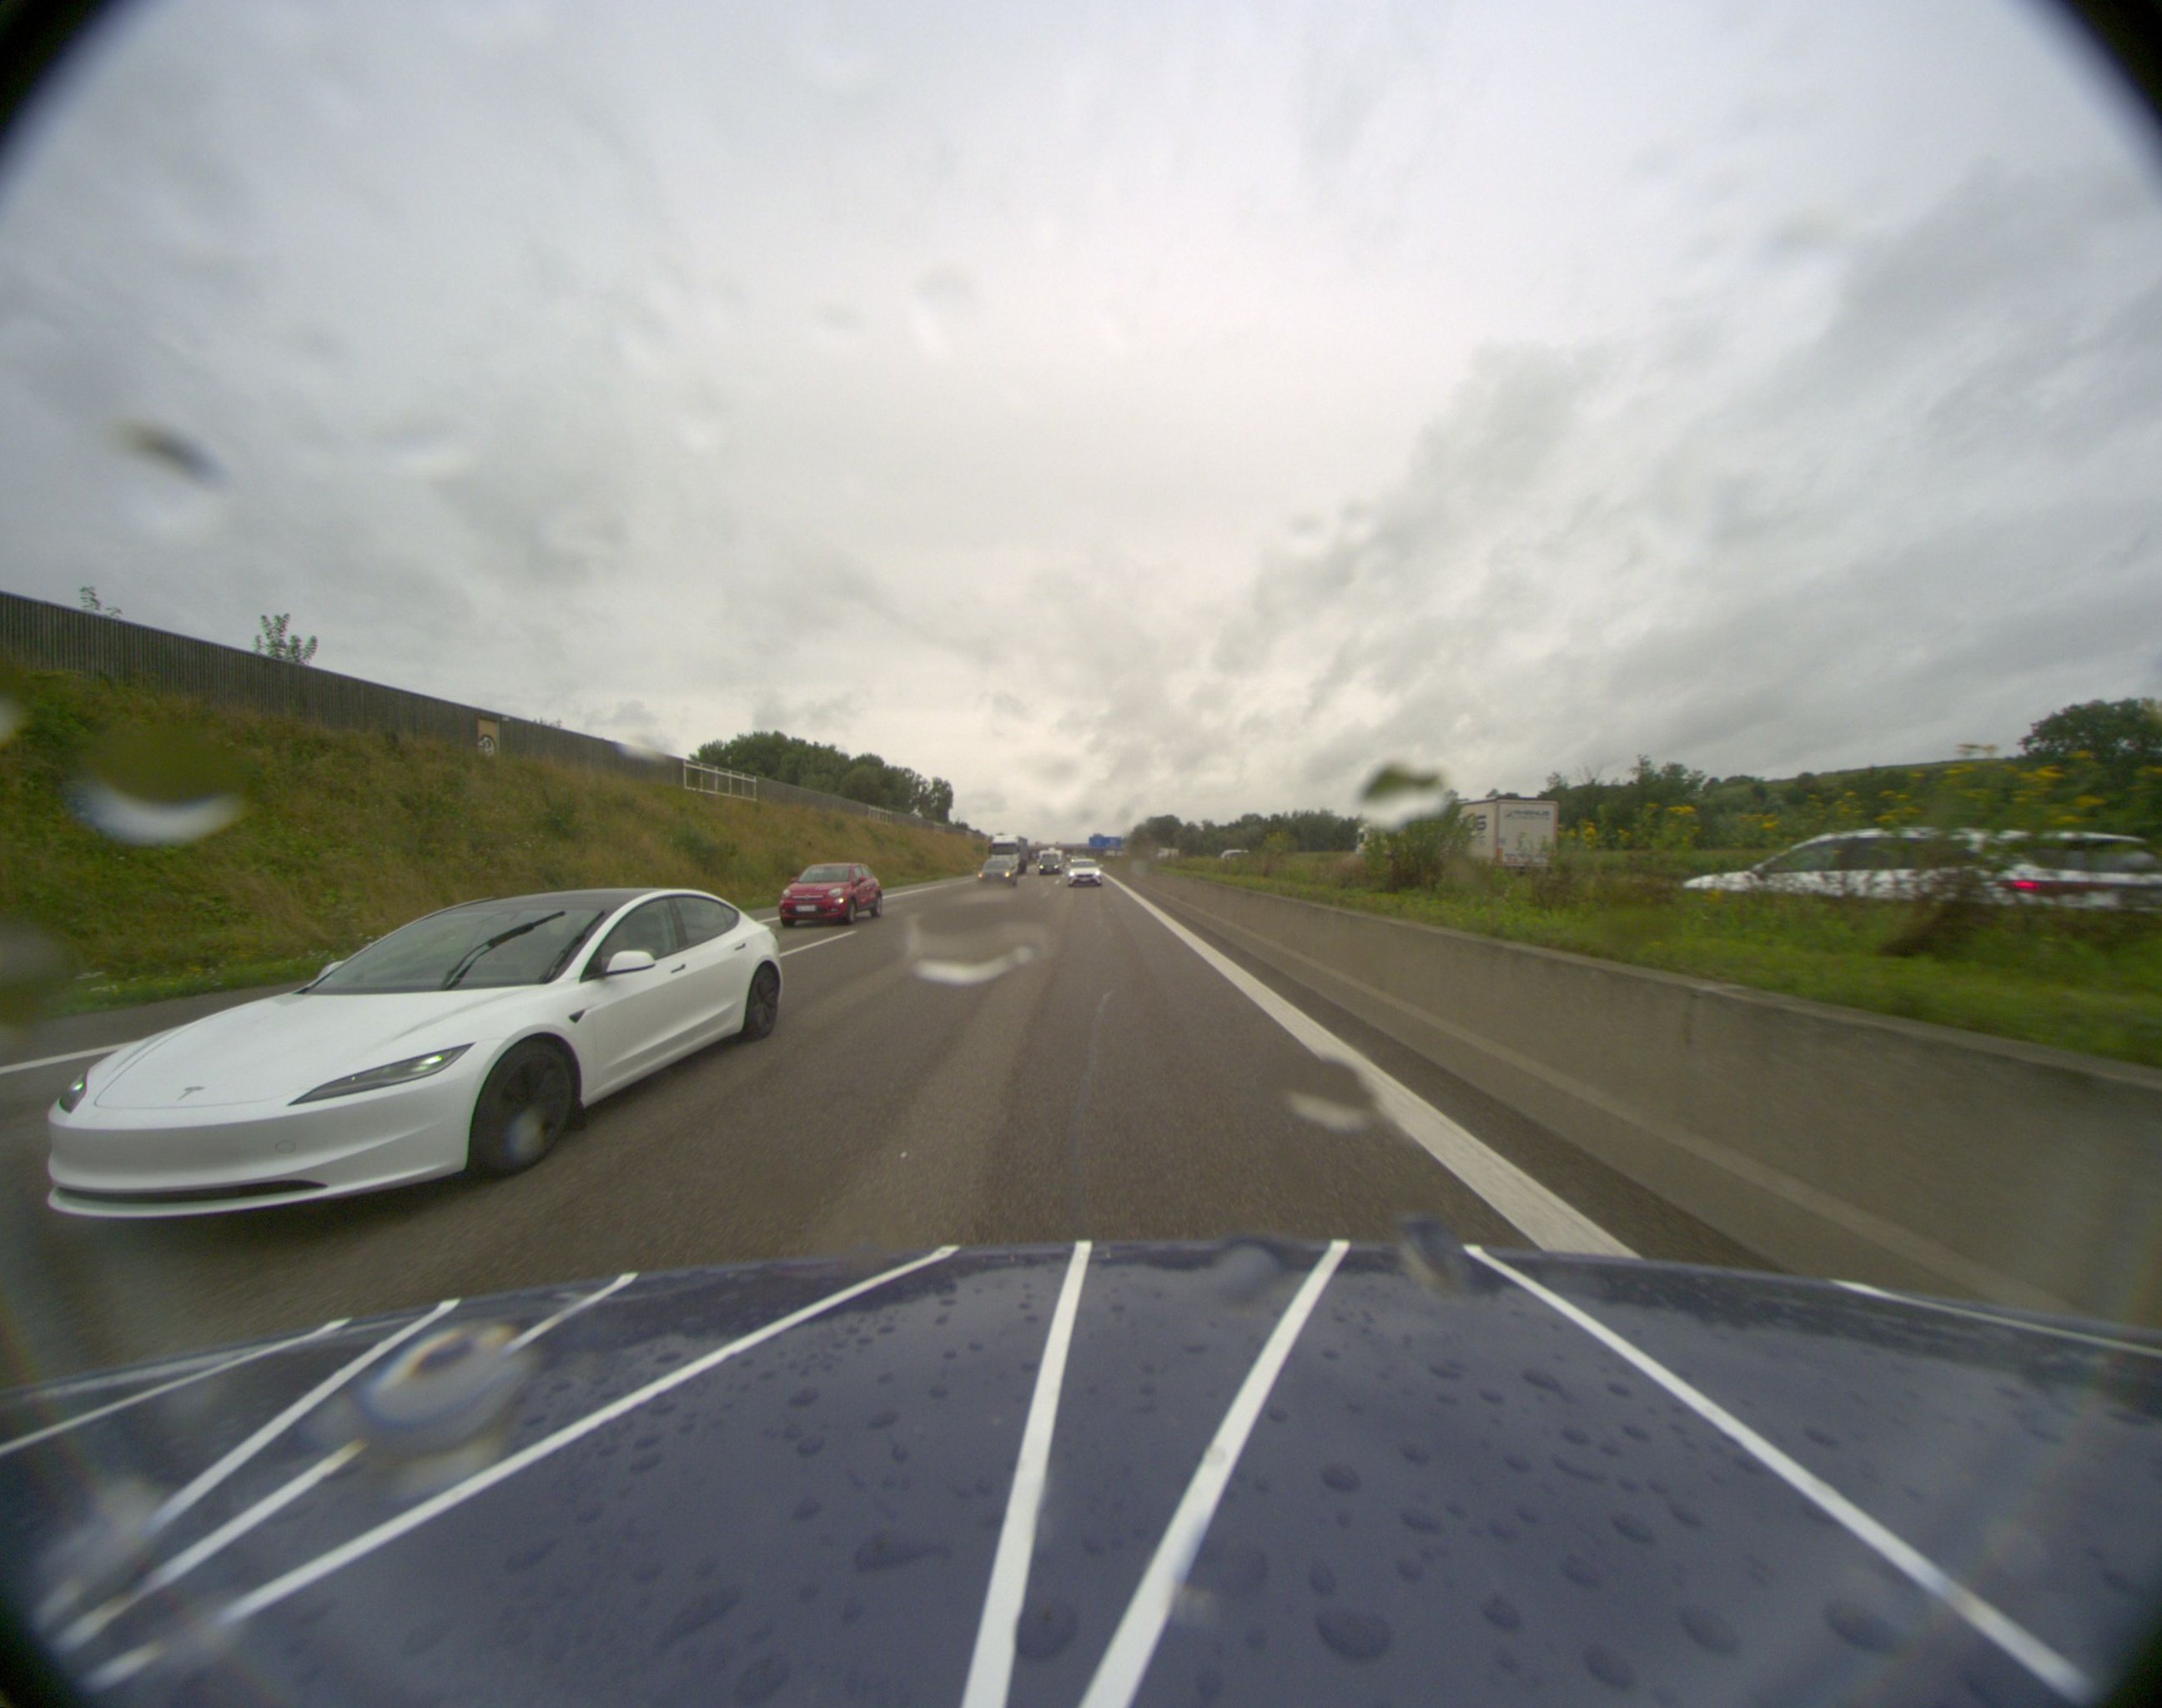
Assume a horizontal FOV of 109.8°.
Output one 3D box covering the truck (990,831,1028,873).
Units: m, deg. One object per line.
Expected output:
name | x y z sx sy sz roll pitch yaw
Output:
truck | -7.244 -0.221 76.958 3.089 4.003 6.955 -2 1 0

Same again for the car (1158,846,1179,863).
car | 10.858 0.069 94.717 1.998 2.002 5.069 -2 0 0

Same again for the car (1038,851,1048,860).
car | -8.178 0.297 163.712 1.999 2.002 4.262 -1 0 0

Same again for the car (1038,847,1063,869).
car | -2.990 0.338 75.167 1.998 2.002 4.938 -2 1 2

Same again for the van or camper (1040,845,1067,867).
van or camper | -2.827 0.175 80.482 2.432 2.139 6.498 -2 1 1

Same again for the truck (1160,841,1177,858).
truck | 17.970 -0.975 156.330 2.763 3.324 4.520 -2 1 -1

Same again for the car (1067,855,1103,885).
car | 0.272 0.852 42.050 1.840 1.455 4.000 -2 1 2

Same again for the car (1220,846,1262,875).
car | 10.656 0.400 50.958 1.824 1.827 4.801 0 0 1

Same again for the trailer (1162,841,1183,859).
trailer | 18.016 -0.867 150.358 2.794 3.309 9.925 -2 1 0

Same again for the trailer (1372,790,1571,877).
trailer | 18.283 -0.894 37.214 2.922 3.408 13.240 -2 1 0

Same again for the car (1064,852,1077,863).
car | -1.619 0.573 122.791 1.998 1.759 4.000 0 0 0

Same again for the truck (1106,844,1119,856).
truck | 11.264 -1.407 272.564 3.609 3.858 16.108 -2 1 0

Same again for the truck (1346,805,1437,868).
truck | 18.336 -1.001 45.258 2.977 3.409 5.627 -2 1 0

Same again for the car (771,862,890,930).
car | -6.666 1.055 20.698 1.878 1.526 3.999 -2 1 0

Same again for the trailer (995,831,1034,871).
trailer | -7.294 -0.337 85.722 3.089 4.003 15.219 -2 1 0

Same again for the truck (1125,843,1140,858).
truck | 16.340 -1.215 242.563 3.333 4.317 16.898 -2 1 0

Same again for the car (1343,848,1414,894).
car | 13.714 0.754 35.275 1.796 2.002 4.000 0 0 1

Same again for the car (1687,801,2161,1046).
car | 9.428 0.570 8.392 1.998 2.002 4.348 1 0 1

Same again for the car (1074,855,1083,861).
car | -0.697 1.050 198.971 1.999 1.696 4.483 -2 0 -2

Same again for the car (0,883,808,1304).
car | -3.774 1.031 5.339 1.878 1.355 4.812 -2 1 1

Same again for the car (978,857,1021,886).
car | -4.601 0.954 43.285 1.929 1.480 4.485 -2 1 0
